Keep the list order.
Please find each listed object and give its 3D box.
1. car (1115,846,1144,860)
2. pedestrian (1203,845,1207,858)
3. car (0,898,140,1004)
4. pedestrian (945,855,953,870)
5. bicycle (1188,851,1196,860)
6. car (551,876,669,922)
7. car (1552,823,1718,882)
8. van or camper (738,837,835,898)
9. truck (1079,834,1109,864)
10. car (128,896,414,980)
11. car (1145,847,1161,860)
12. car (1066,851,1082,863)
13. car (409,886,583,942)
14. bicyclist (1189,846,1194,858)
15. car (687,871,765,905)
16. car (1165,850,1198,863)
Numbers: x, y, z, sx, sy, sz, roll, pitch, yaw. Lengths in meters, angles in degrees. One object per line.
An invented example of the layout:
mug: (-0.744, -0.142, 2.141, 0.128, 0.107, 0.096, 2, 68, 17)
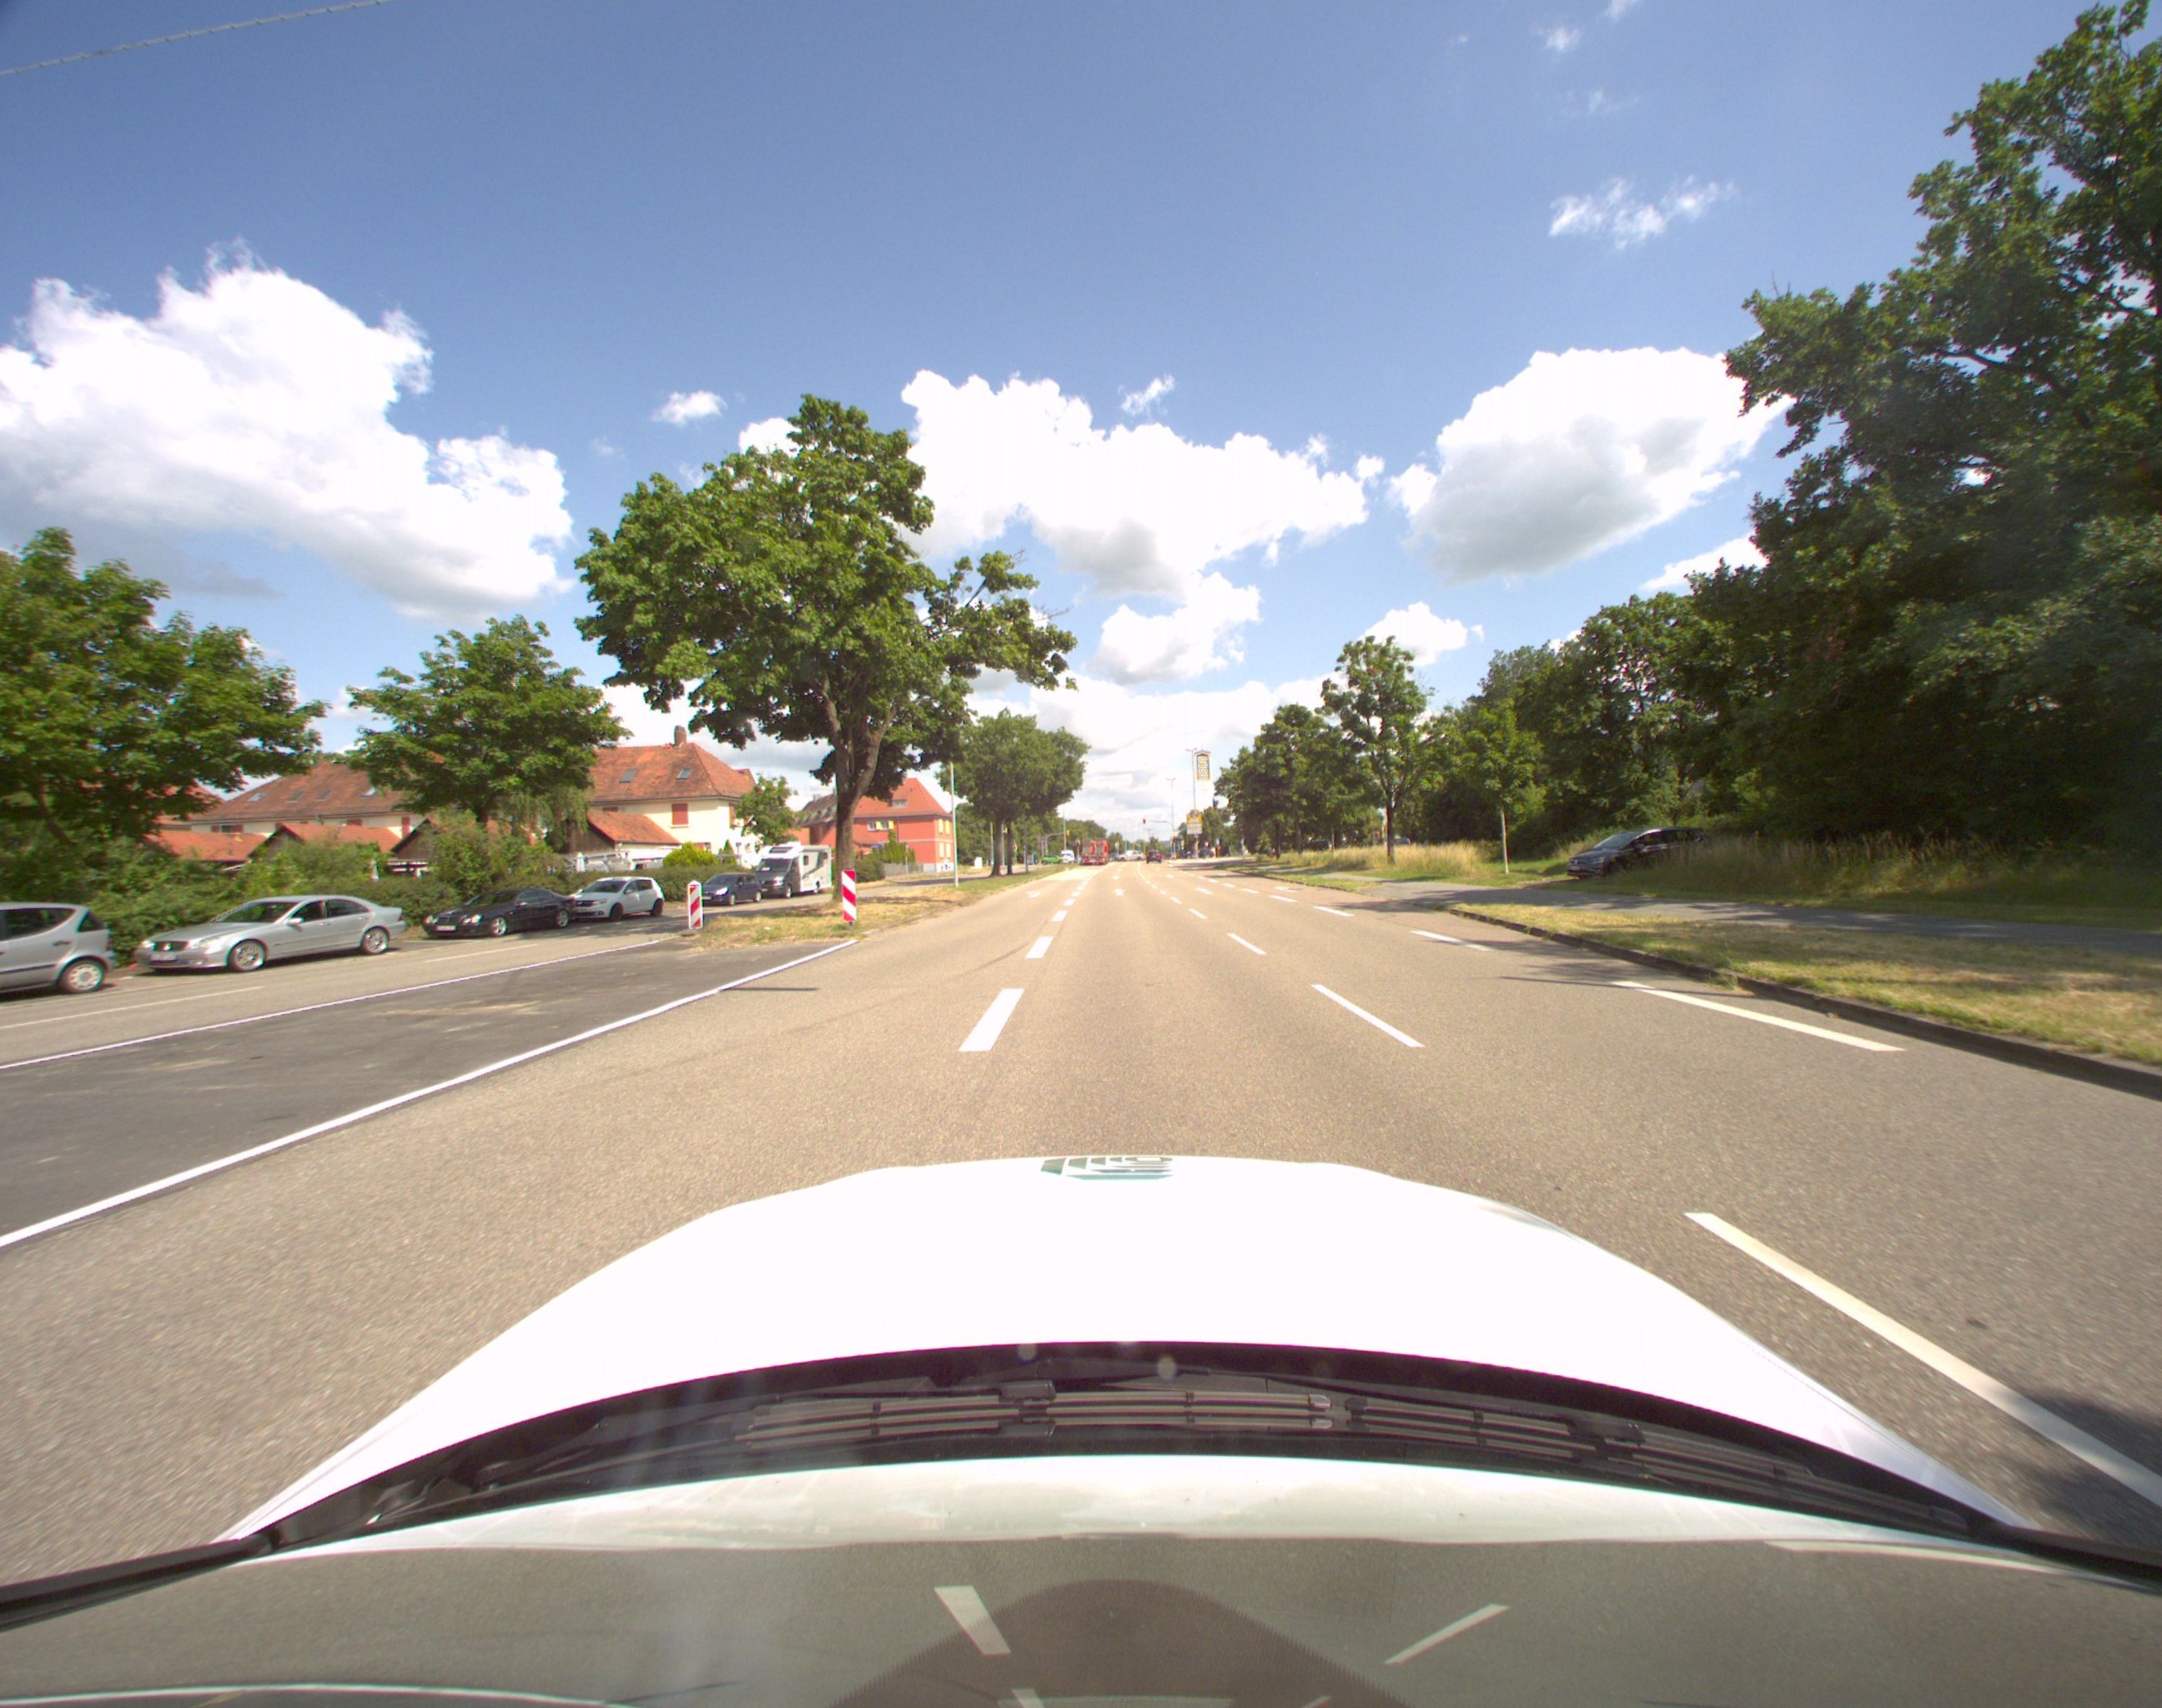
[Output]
car: (7.229, -0.166, 122.028, 3.998, 2.014, 1.988, 0, -1, -18)
pedestrian: (16.668, -0.314, 109.772, 0.461, 1.779, 0.484, 0, -1, 15)
car: (-17.659, 1.570, 12.764, 1.397, 1.557, 3.743, 0, 0, 2)
pedestrian: (-14.879, 0.950, 91.614, 0.693, 1.583, 0.852, 0, -1, 3)
bicycle: (15.192, 0.196, 111.701, 0.643, 1.107, 1.937, 0, -1, 19)
car: (-16.920, 1.562, 29.503, 1.681, 1.485, 4.128, 0, -1, 4)
car: (17.646, -0.073, 26.059, 4.155, 1.493, 1.782, -5, 2, -5)
van or camper: (-16.103, 0.668, 45.118, 2.249, 3.112, 7.327, 0, 0, 4)
truck: (1.679, -0.508, 99.438, 3.057, 3.414, 11.078, 0, -1, 4)
car: (-17.262, 1.711, 17.749, 1.504, 1.370, 4.536, 0, 0, 4)
car: (8.765, -0.011, 99.685, 1.792, 1.552, 4.004, 0, -1, 4)
car: (-0.975, 0.442, 111.736, 1.725, 1.508, 4.657, -5, -1, 3)
car: (-17.148, 1.689, 24.196, 1.629, 1.306, 4.588, 0, 0, 4)
bicyclist: (15.128, -0.218, 111.522, 0.643, 1.661, 0.653, 0, -1, 19)
car: (-16.390, 1.541, 37.794, 1.629, 1.485, 3.996, 0, -1, 4)
car: (11.717, 0.326, 94.850, 3.578, 1.442, 1.468, 0, -1, -15)
